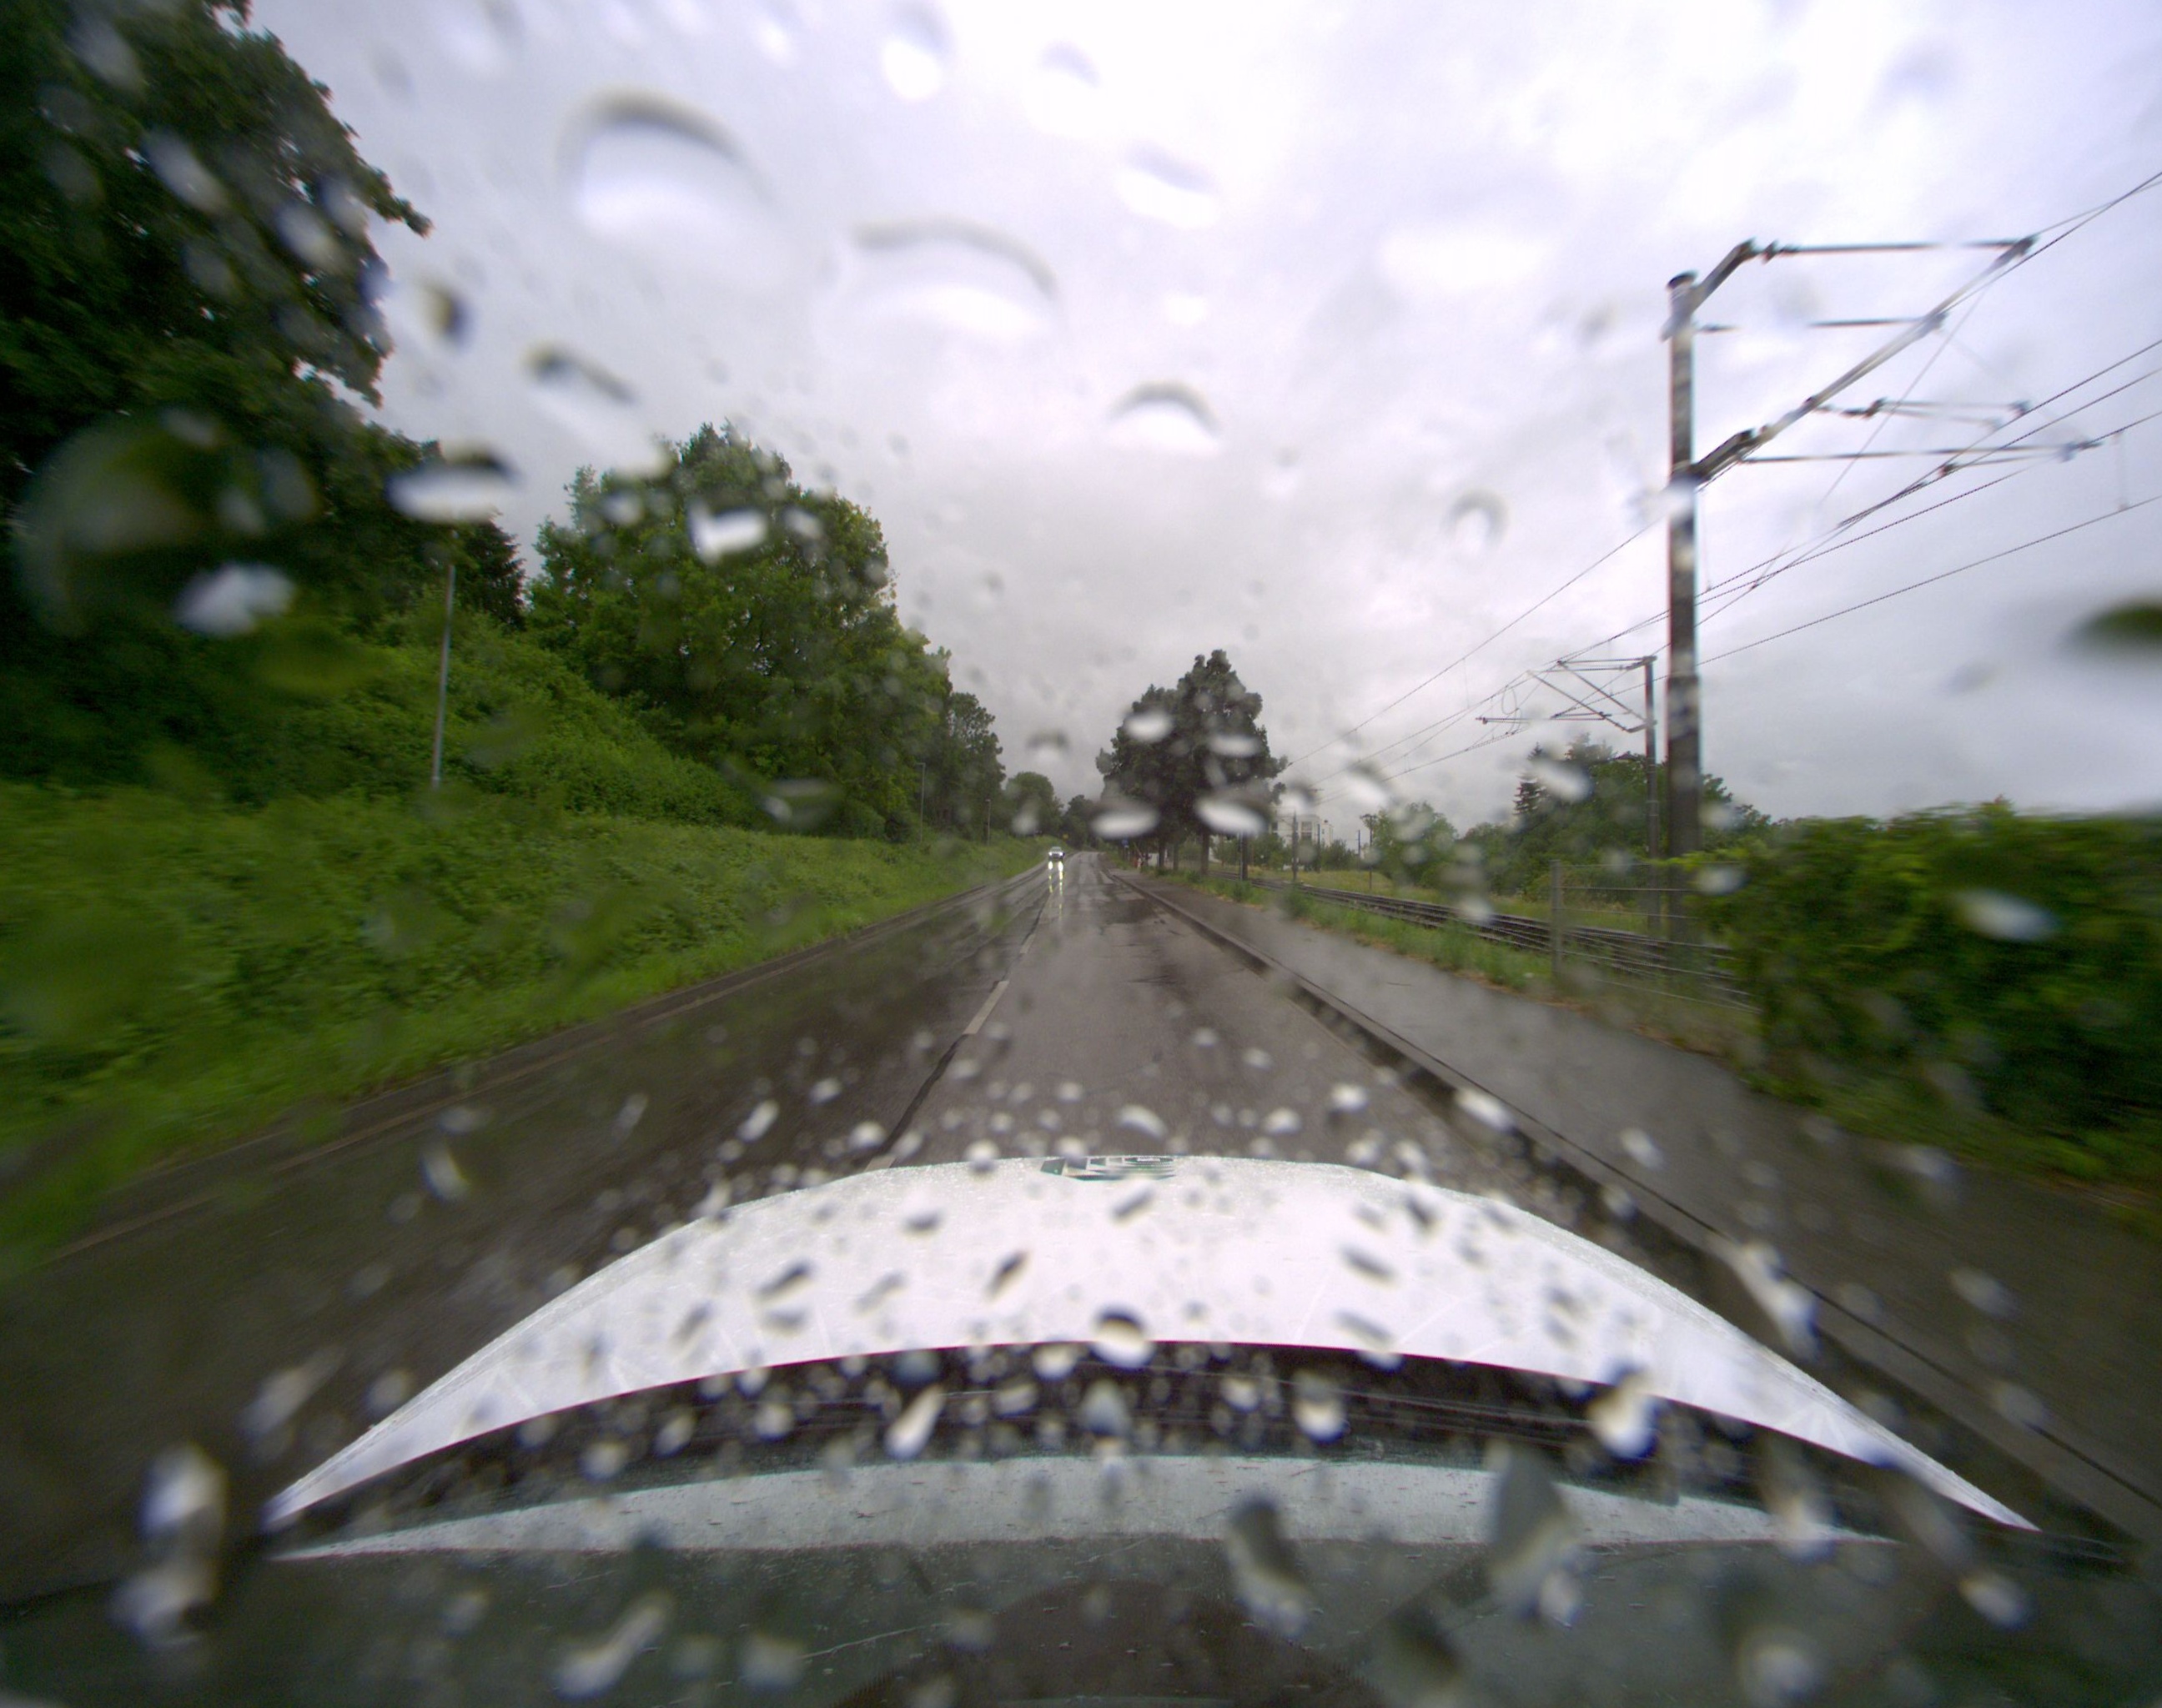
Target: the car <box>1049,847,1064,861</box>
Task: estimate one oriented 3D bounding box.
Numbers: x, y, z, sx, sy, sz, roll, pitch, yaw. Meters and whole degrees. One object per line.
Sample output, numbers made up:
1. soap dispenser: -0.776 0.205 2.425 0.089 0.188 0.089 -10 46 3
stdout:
1. car: -3.131 -0.011 104.322 1.741 1.612 4.083 1 1 -3
